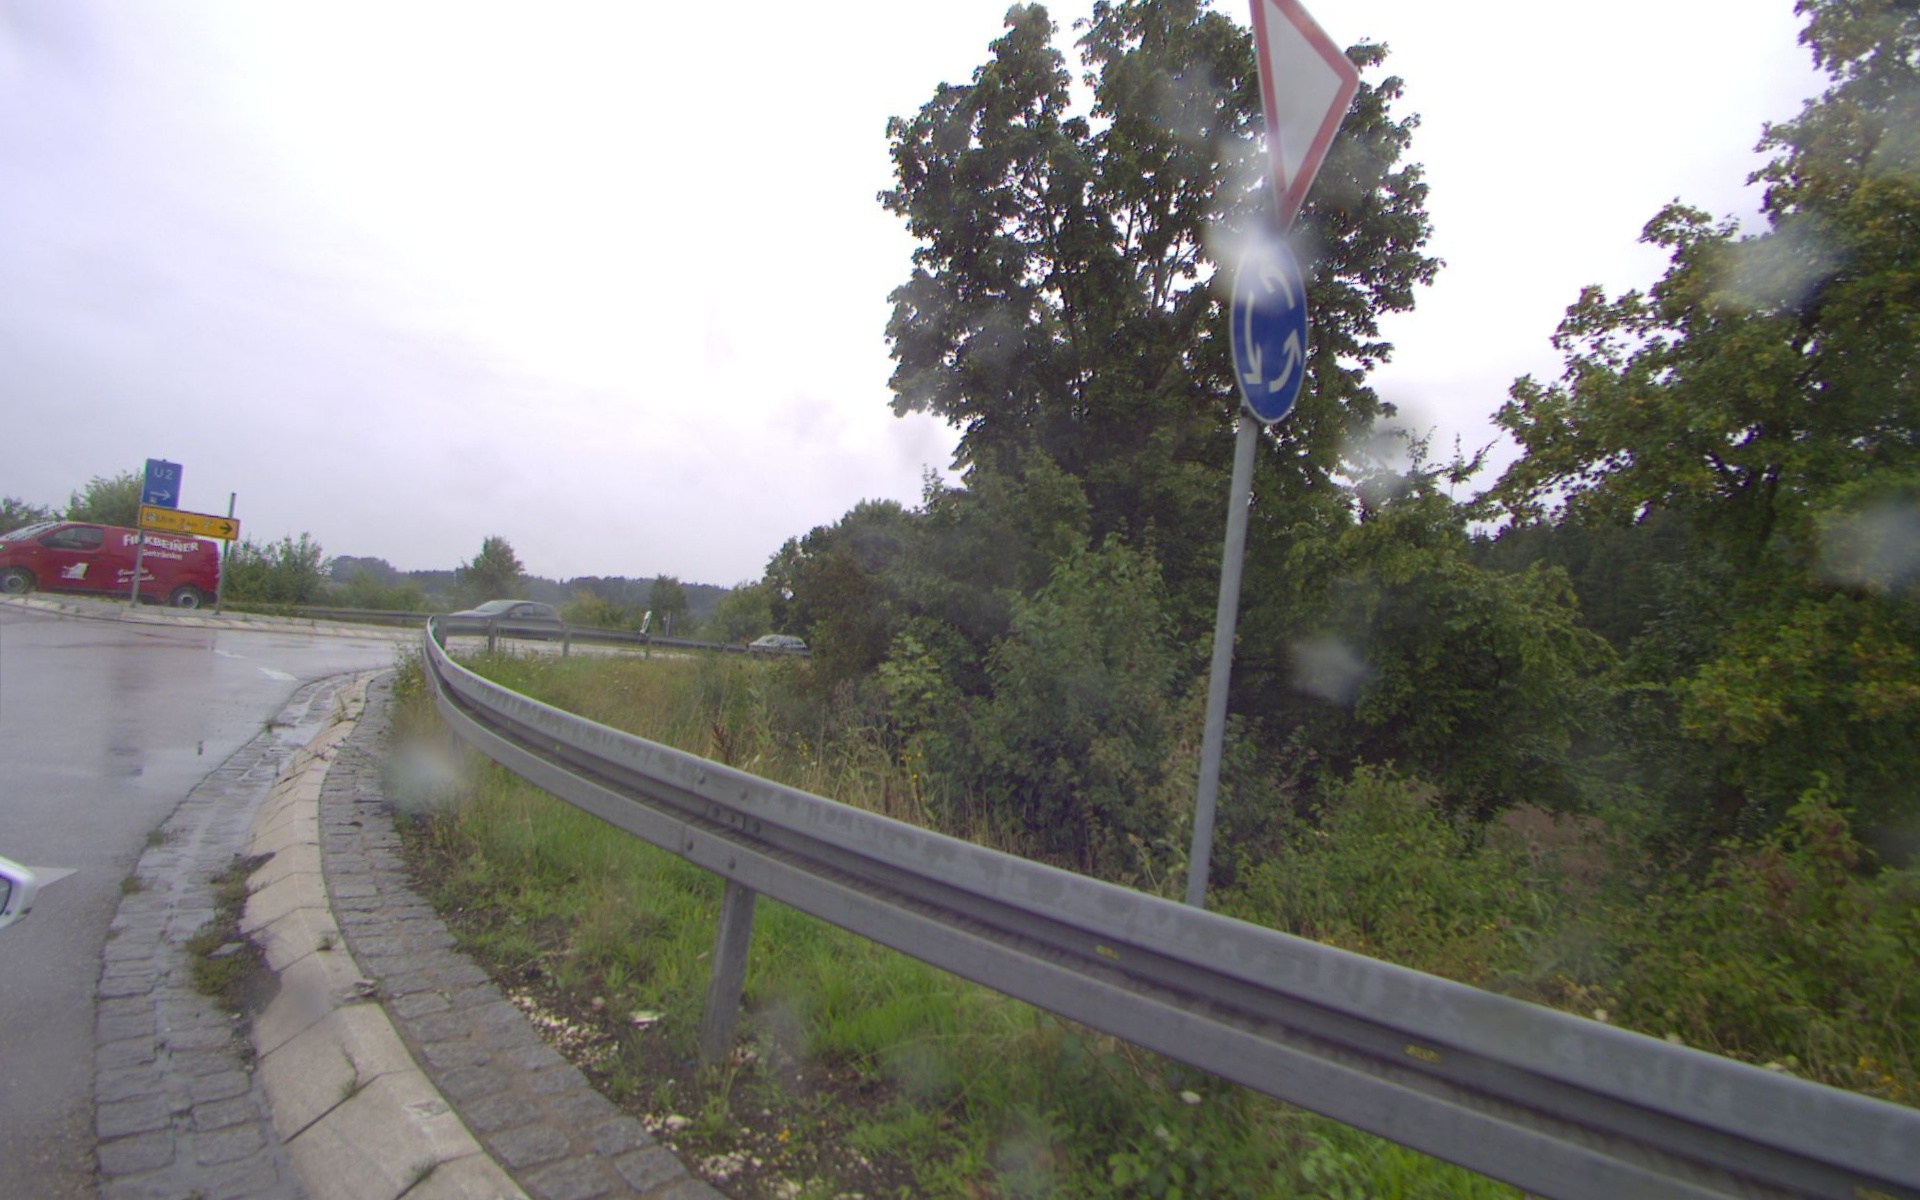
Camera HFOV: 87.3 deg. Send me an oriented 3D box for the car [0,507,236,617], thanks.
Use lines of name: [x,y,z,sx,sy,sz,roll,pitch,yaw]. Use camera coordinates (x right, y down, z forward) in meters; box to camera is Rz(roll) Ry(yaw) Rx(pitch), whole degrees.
car: [-20.518,-0.882,23.819,1.966,1.890,4.977,5,-4,29]

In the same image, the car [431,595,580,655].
car: [-15.437,0.914,34.476,1.840,1.436,4.510,6,-4,22]
